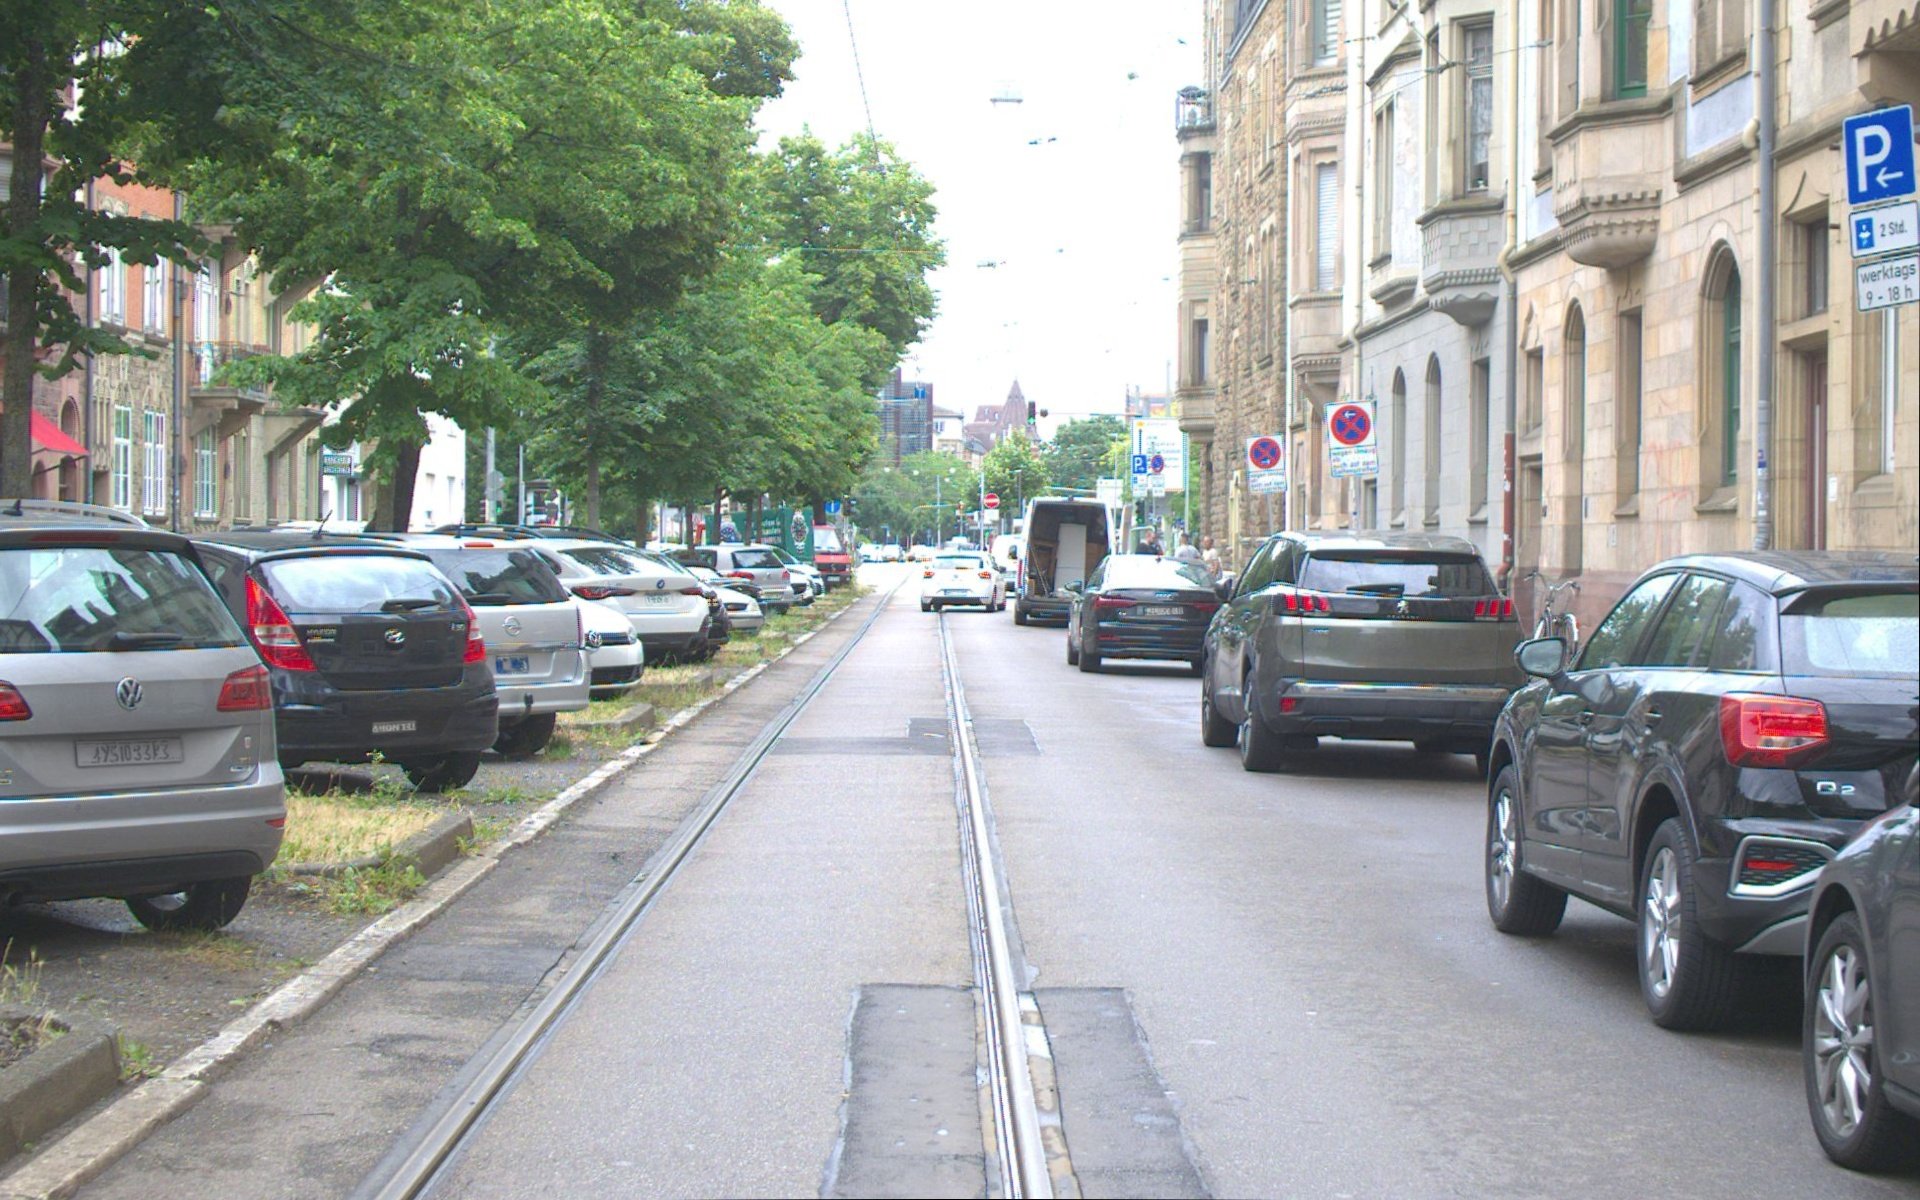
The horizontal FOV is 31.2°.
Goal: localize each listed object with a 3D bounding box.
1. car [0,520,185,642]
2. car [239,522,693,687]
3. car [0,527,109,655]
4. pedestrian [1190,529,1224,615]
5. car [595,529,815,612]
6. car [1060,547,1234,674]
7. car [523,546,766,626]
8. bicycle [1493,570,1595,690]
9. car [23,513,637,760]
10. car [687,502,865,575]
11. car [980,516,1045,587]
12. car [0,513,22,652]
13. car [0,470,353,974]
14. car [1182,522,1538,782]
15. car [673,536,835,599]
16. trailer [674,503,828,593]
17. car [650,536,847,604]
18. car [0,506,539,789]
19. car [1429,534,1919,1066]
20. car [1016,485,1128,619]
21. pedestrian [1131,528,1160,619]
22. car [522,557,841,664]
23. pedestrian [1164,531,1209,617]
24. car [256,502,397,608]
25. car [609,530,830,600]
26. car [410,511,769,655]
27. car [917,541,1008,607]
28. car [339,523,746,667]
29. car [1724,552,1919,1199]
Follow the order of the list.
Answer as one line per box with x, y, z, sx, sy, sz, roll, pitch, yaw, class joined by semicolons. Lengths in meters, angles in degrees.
-12.309;-0.281;48.616;1.740;1.621;4.554;1;1;-1;car
-4.461;0.010;30.711;4.127;1.307;1.858;2;1;44;car
-12.111;-0.138;43.792;1.662;1.554;3.723;1;1;-1;car
4.987;-0.569;69.343;0.507;1.711;0.581;-2;1;-10;pedestrian
-4.885;-0.576;65.627;4.114;1.479;1.793;2;1;41;car
2.284;0.083;43.215;1.801;1.433;5.196;1;1;-1;car
-5.088;-0.238;55.110;3.960;1.198;1.664;2;1;43;car
5.894;0.290;34.776;0.611;1.123;1.916;3;1;-1;bicycle
-4.383;0.192;23.447;1.858;1.488;4.562;1;1;-44;car
-5.083;-1.693;94.375;4.763;1.967;1.955;1;1;38;car
1.524;-1.401;98.929;1.782;1.956;4.382;1;1;1;car
-12.044;-0.203;38.833;1.768;1.623;4.321;1;1;-1;car
-4.278;0.379;12.742;4.203;1.604;1.721;1;0;41;car
2.686;0.283;24.122;1.759;1.616;4.695;1;1;-2;car
-5.032;-0.801;83.745;3.860;1.458;1.685;2;1;42;car
-5.573;-1.405;91.516;3.666;2.336;1.927;1;1;33;trailer
-4.746;-0.684;76.954;4.337;1.430;1.894;2;1;42;car
-4.424;0.207;20.159;3.998;1.480;1.771;2;1;45;car
2.951;0.576;12.269;1.697;1.508;4.420;3;1;-2;car
2.236;-0.996;70.419;2.013;2.540;7.016;2;1;0;car
3.731;-0.547;69.239;0.499;1.809;0.803;-2;1;1;pedestrian
-3.952;0.117;48.265;4.665;1.363;1.753;2;1;42;car
4.517;-0.516;68.495;0.702;1.694;0.493;-2;1;-28;pedestrian
-12.271;-0.865;66.889;1.881;1.945;5.094;1;1;-1;car
-5.159;-0.761;73.365;4.684;1.430;1.894;2;1;39;car
-4.485;-0.229;41.178;4.530;1.627;1.761;1;1;44;car
0.081;-0.632;80.487;1.783;1.467;4.009;1;1;5;car
-4.666;-0.082;38.014;4.539;1.485;2.031;1;1;44;car
2.983;0.722;6.966;1.697;1.508;4.392;4;1;-2;car
